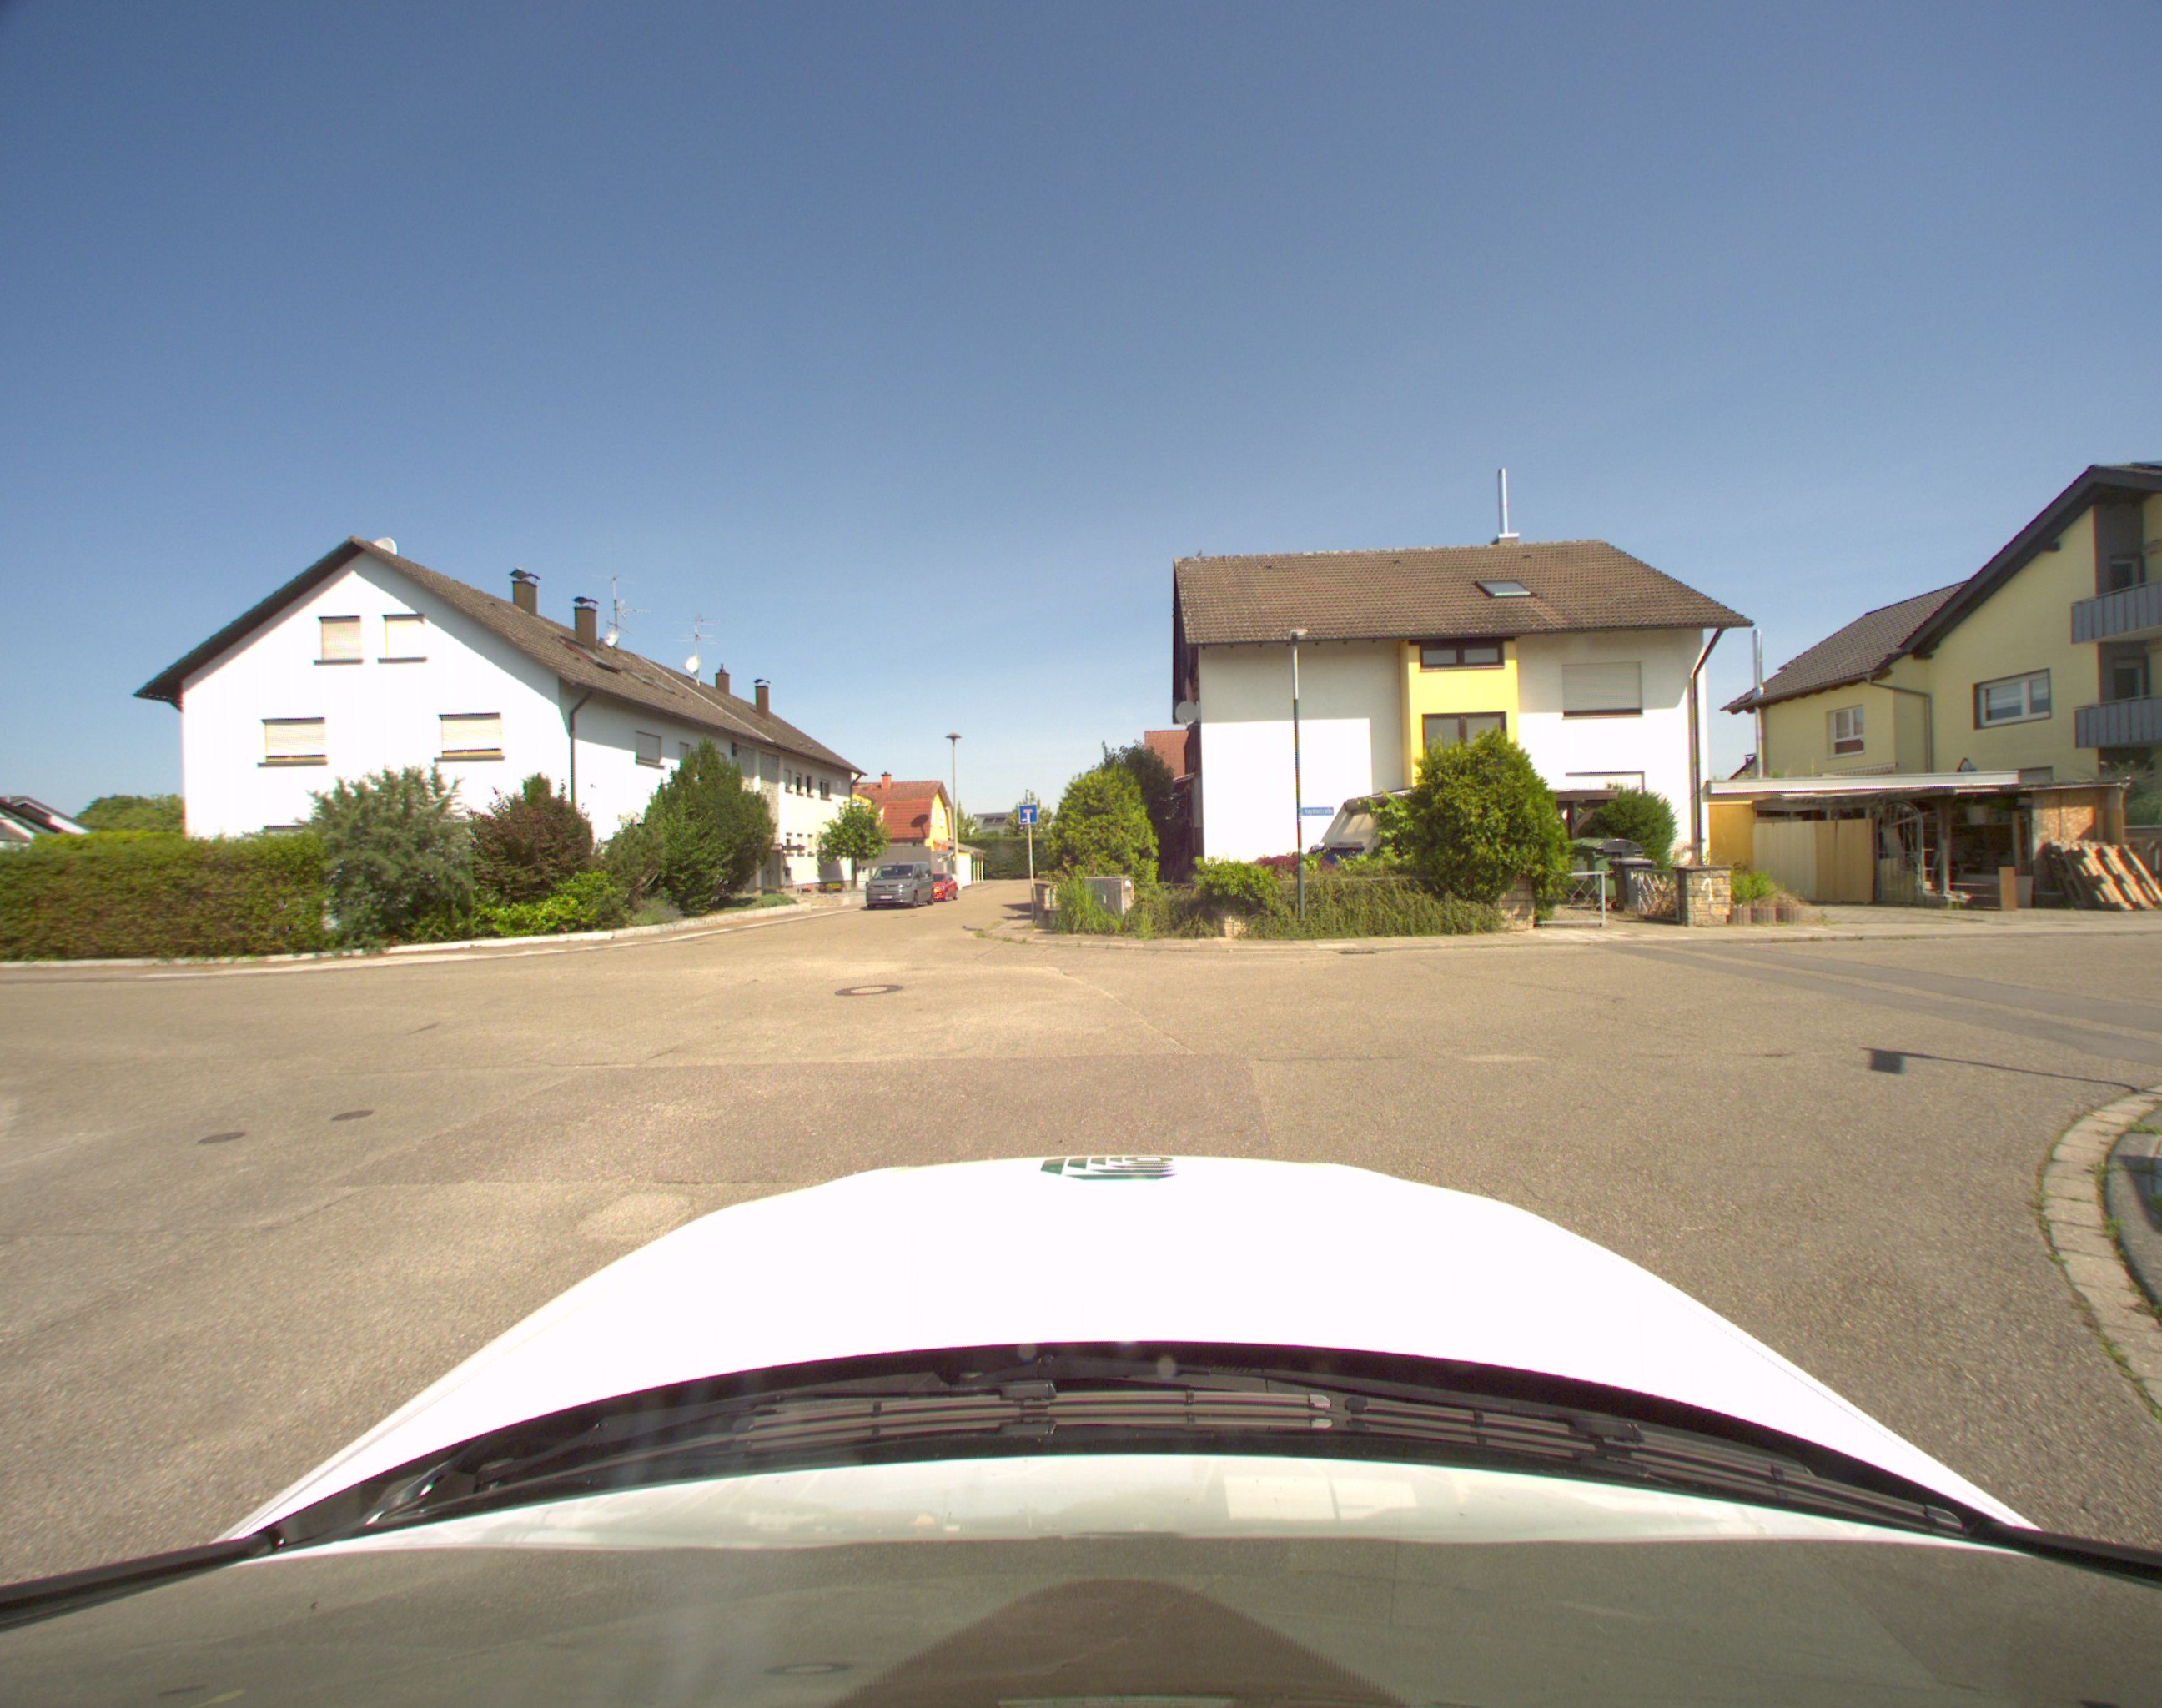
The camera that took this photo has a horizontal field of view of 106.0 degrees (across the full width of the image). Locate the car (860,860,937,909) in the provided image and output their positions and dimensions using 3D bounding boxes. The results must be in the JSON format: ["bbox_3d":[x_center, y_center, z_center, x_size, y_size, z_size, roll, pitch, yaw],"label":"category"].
[{"bbox_3d":[-7.503,1.223,33.985,1.892,1.870,4.376,-1,-1,4],"label":"car"}]

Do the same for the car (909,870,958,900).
[{"bbox_3d":[-7.302,1.513,40.576,1.646,1.365,3.780,-1,-1,1],"label":"car"}]
